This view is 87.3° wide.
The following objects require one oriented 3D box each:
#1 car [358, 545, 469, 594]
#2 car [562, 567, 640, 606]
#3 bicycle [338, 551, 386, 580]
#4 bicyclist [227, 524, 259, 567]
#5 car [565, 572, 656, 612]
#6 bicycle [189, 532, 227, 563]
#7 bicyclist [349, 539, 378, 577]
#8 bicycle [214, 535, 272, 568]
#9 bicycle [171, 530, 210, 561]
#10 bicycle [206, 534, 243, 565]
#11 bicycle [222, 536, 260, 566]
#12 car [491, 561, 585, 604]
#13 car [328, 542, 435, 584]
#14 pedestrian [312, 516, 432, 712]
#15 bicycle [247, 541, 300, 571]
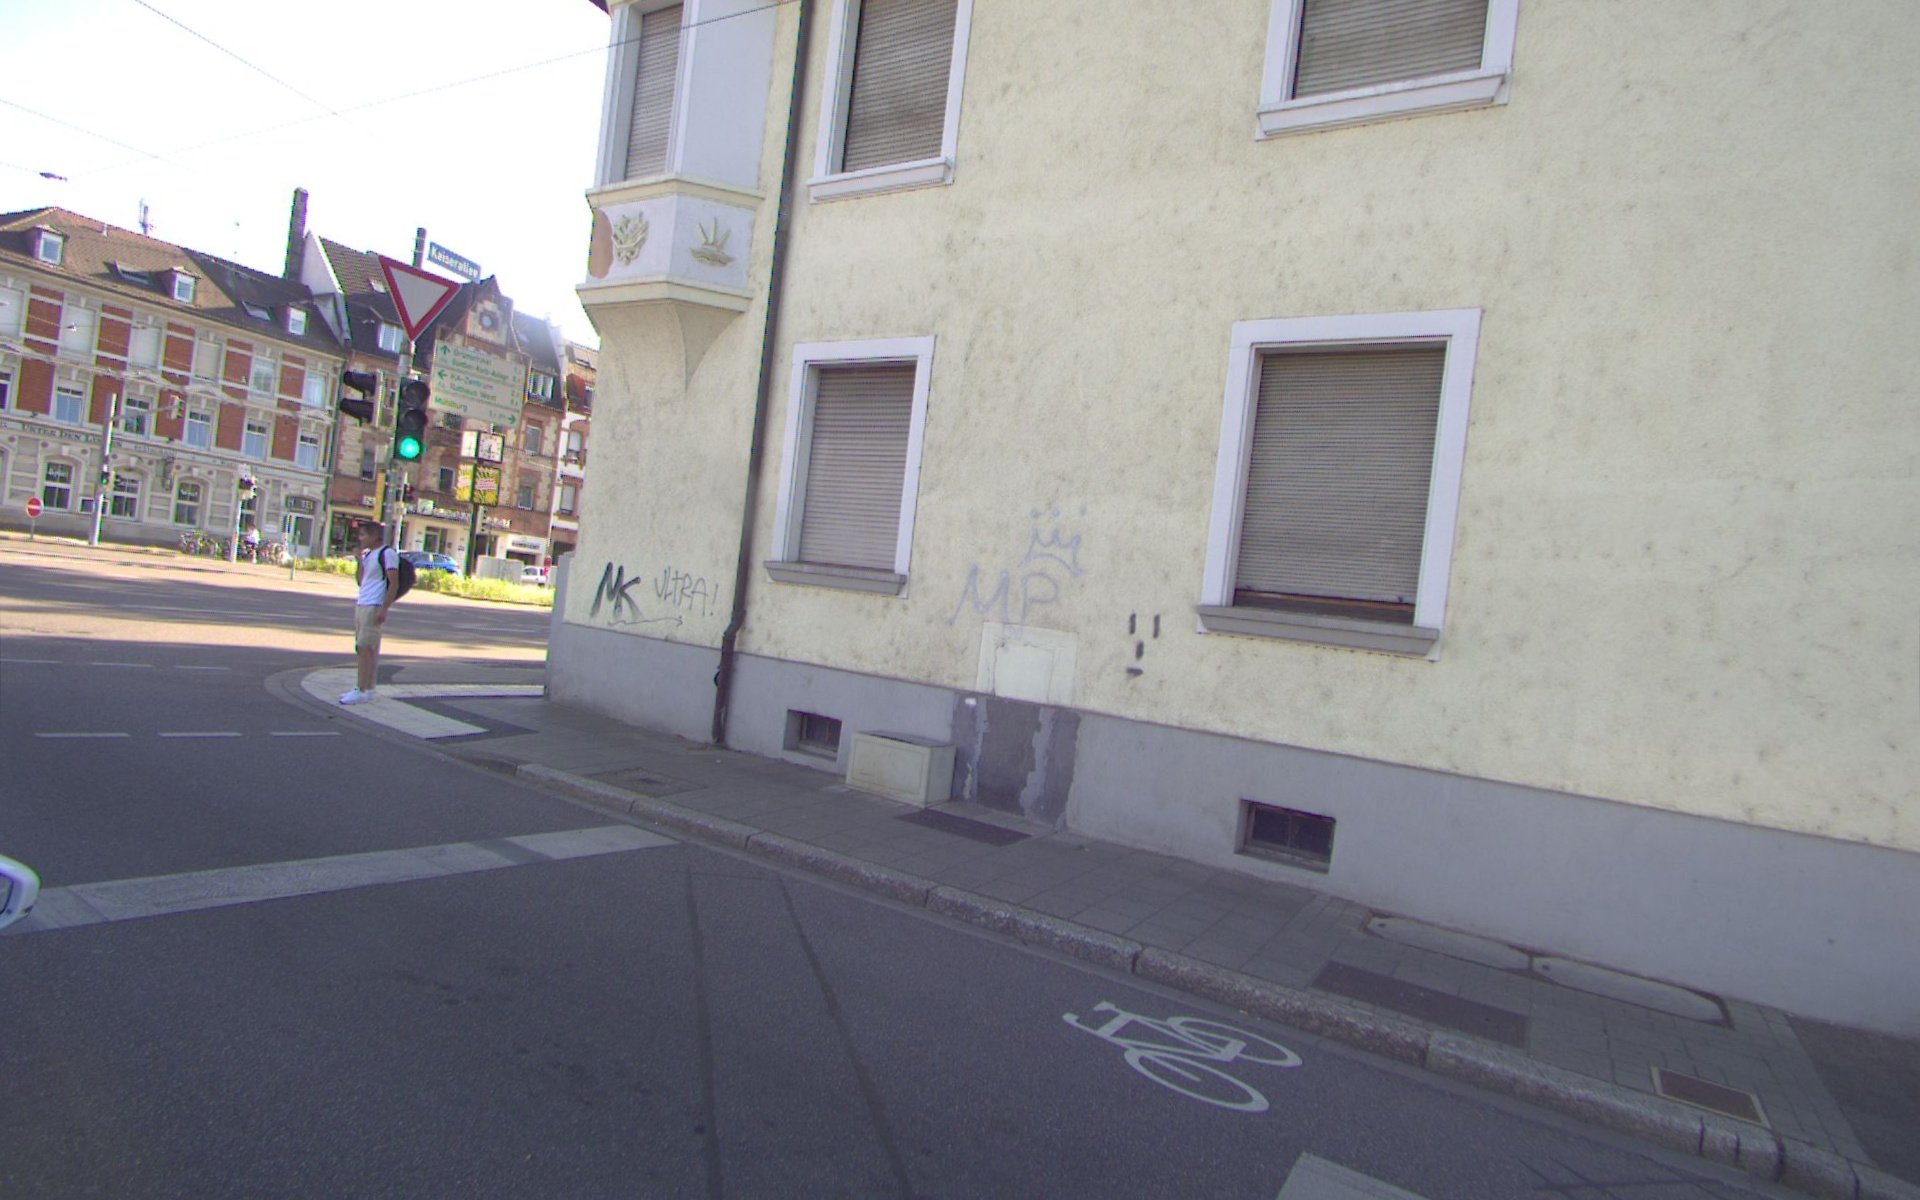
[{"bbox_3d":[-25.382,-1.385,46.832,1.922,1.688,3.993,7,-1,31],"label":"car"},{"bbox_3d":[-23.218,-0.848,65.186,1.922,1.988,4.411,7,-1,31],"label":"car"},{"bbox_3d":[-29.949,-1.727,50.440,0.591,1.205,1.966,7,-1,27],"label":"bicycle"},{"bbox_3d":[-32.361,-2.449,45.424,0.592,1.785,0.873,7,0,34],"label":"bicyclist"},{"bbox_3d":[-19.531,-0.421,56.346,1.922,1.688,4.480,7,-1,31],"label":"car"},{"bbox_3d":[-34.523,-2.399,46.187,1.935,1.205,0.678,7,0,33],"label":"bicycle"},{"bbox_3d":[-29.902,-2.087,50.451,0.591,1.785,0.905,7,0,26],"label":"bicyclist"},{"bbox_3d":[-32.375,-2.195,45.458,0.592,1.205,1.962,7,-1,34],"label":"bicycle"},{"bbox_3d":[-34.863,-2.484,45.573,1.935,1.205,0.678,7,0,33],"label":"bicycle"},{"bbox_3d":[-34.184,-2.361,46.743,1.935,1.205,0.678,7,0,33],"label":"bicycle"},{"bbox_3d":[-33.827,-2.307,47.315,1.935,1.205,0.678,7,0,33],"label":"bicycle"},{"bbox_3d":[-21.899,-0.907,52.335,1.922,1.688,3.993,7,-1,31],"label":"car"},{"bbox_3d":[-27.808,-1.745,48.468,1.815,1.429,3.993,7,-1,31],"label":"car"},{"bbox_3d":[-5.610,0.126,9.629,0.662,1.764,0.689,5,2,-2],"label":"pedestrian"},{"bbox_3d":[-32.861,-2.095,48.168,0.667,1.205,1.968,7,-1,20],"label":"bicycle"}]
